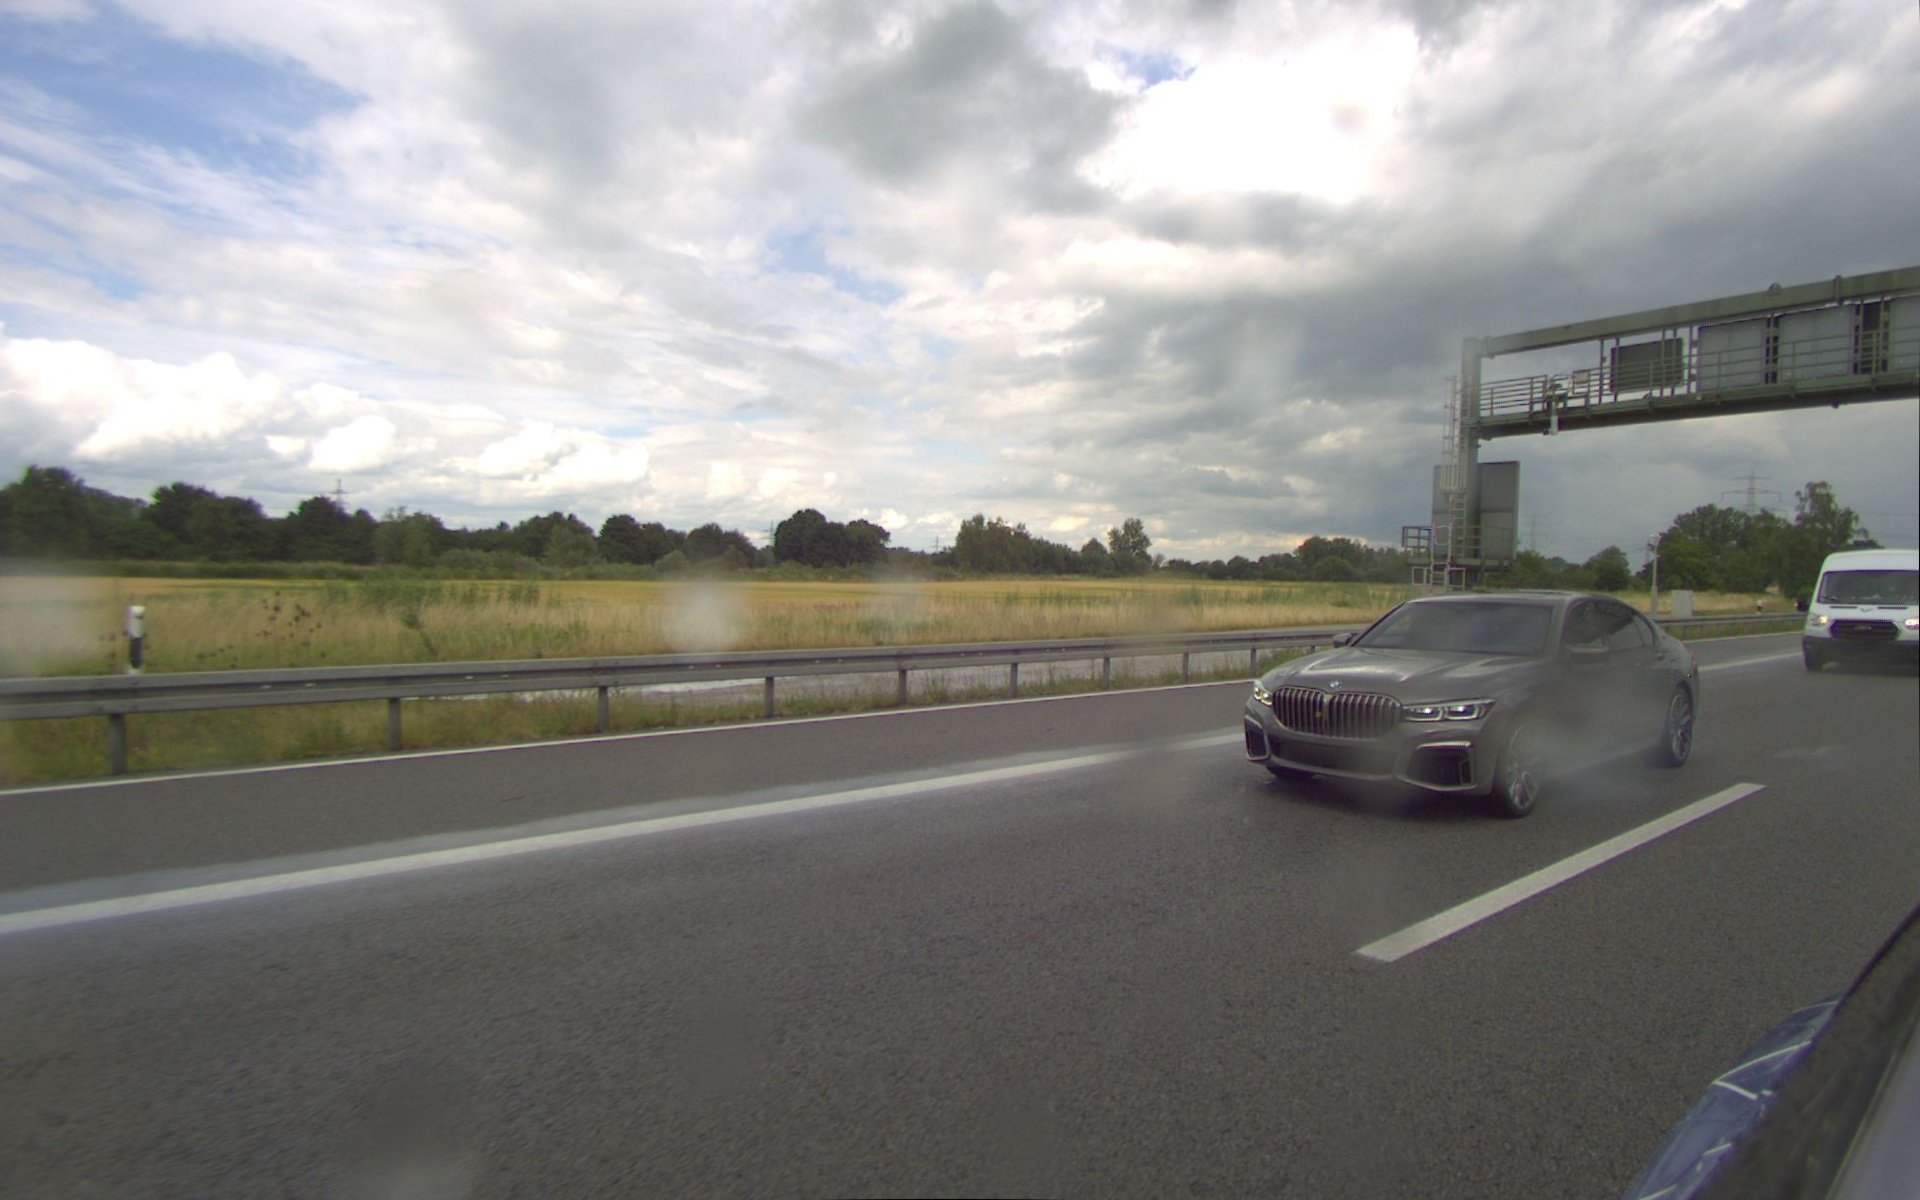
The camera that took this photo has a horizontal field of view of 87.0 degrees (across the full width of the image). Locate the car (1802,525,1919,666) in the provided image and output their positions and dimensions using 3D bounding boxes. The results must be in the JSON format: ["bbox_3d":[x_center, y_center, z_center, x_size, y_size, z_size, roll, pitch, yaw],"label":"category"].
[{"bbox_3d":[18.975,-0.110,20.374,5.350,2.532,2.144,0,1,-40],"label":"car"}]

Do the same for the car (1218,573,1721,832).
[{"bbox_3d":[4.300,0.564,8.164,4.691,1.510,1.944,0,1,-40],"label":"car"}]
